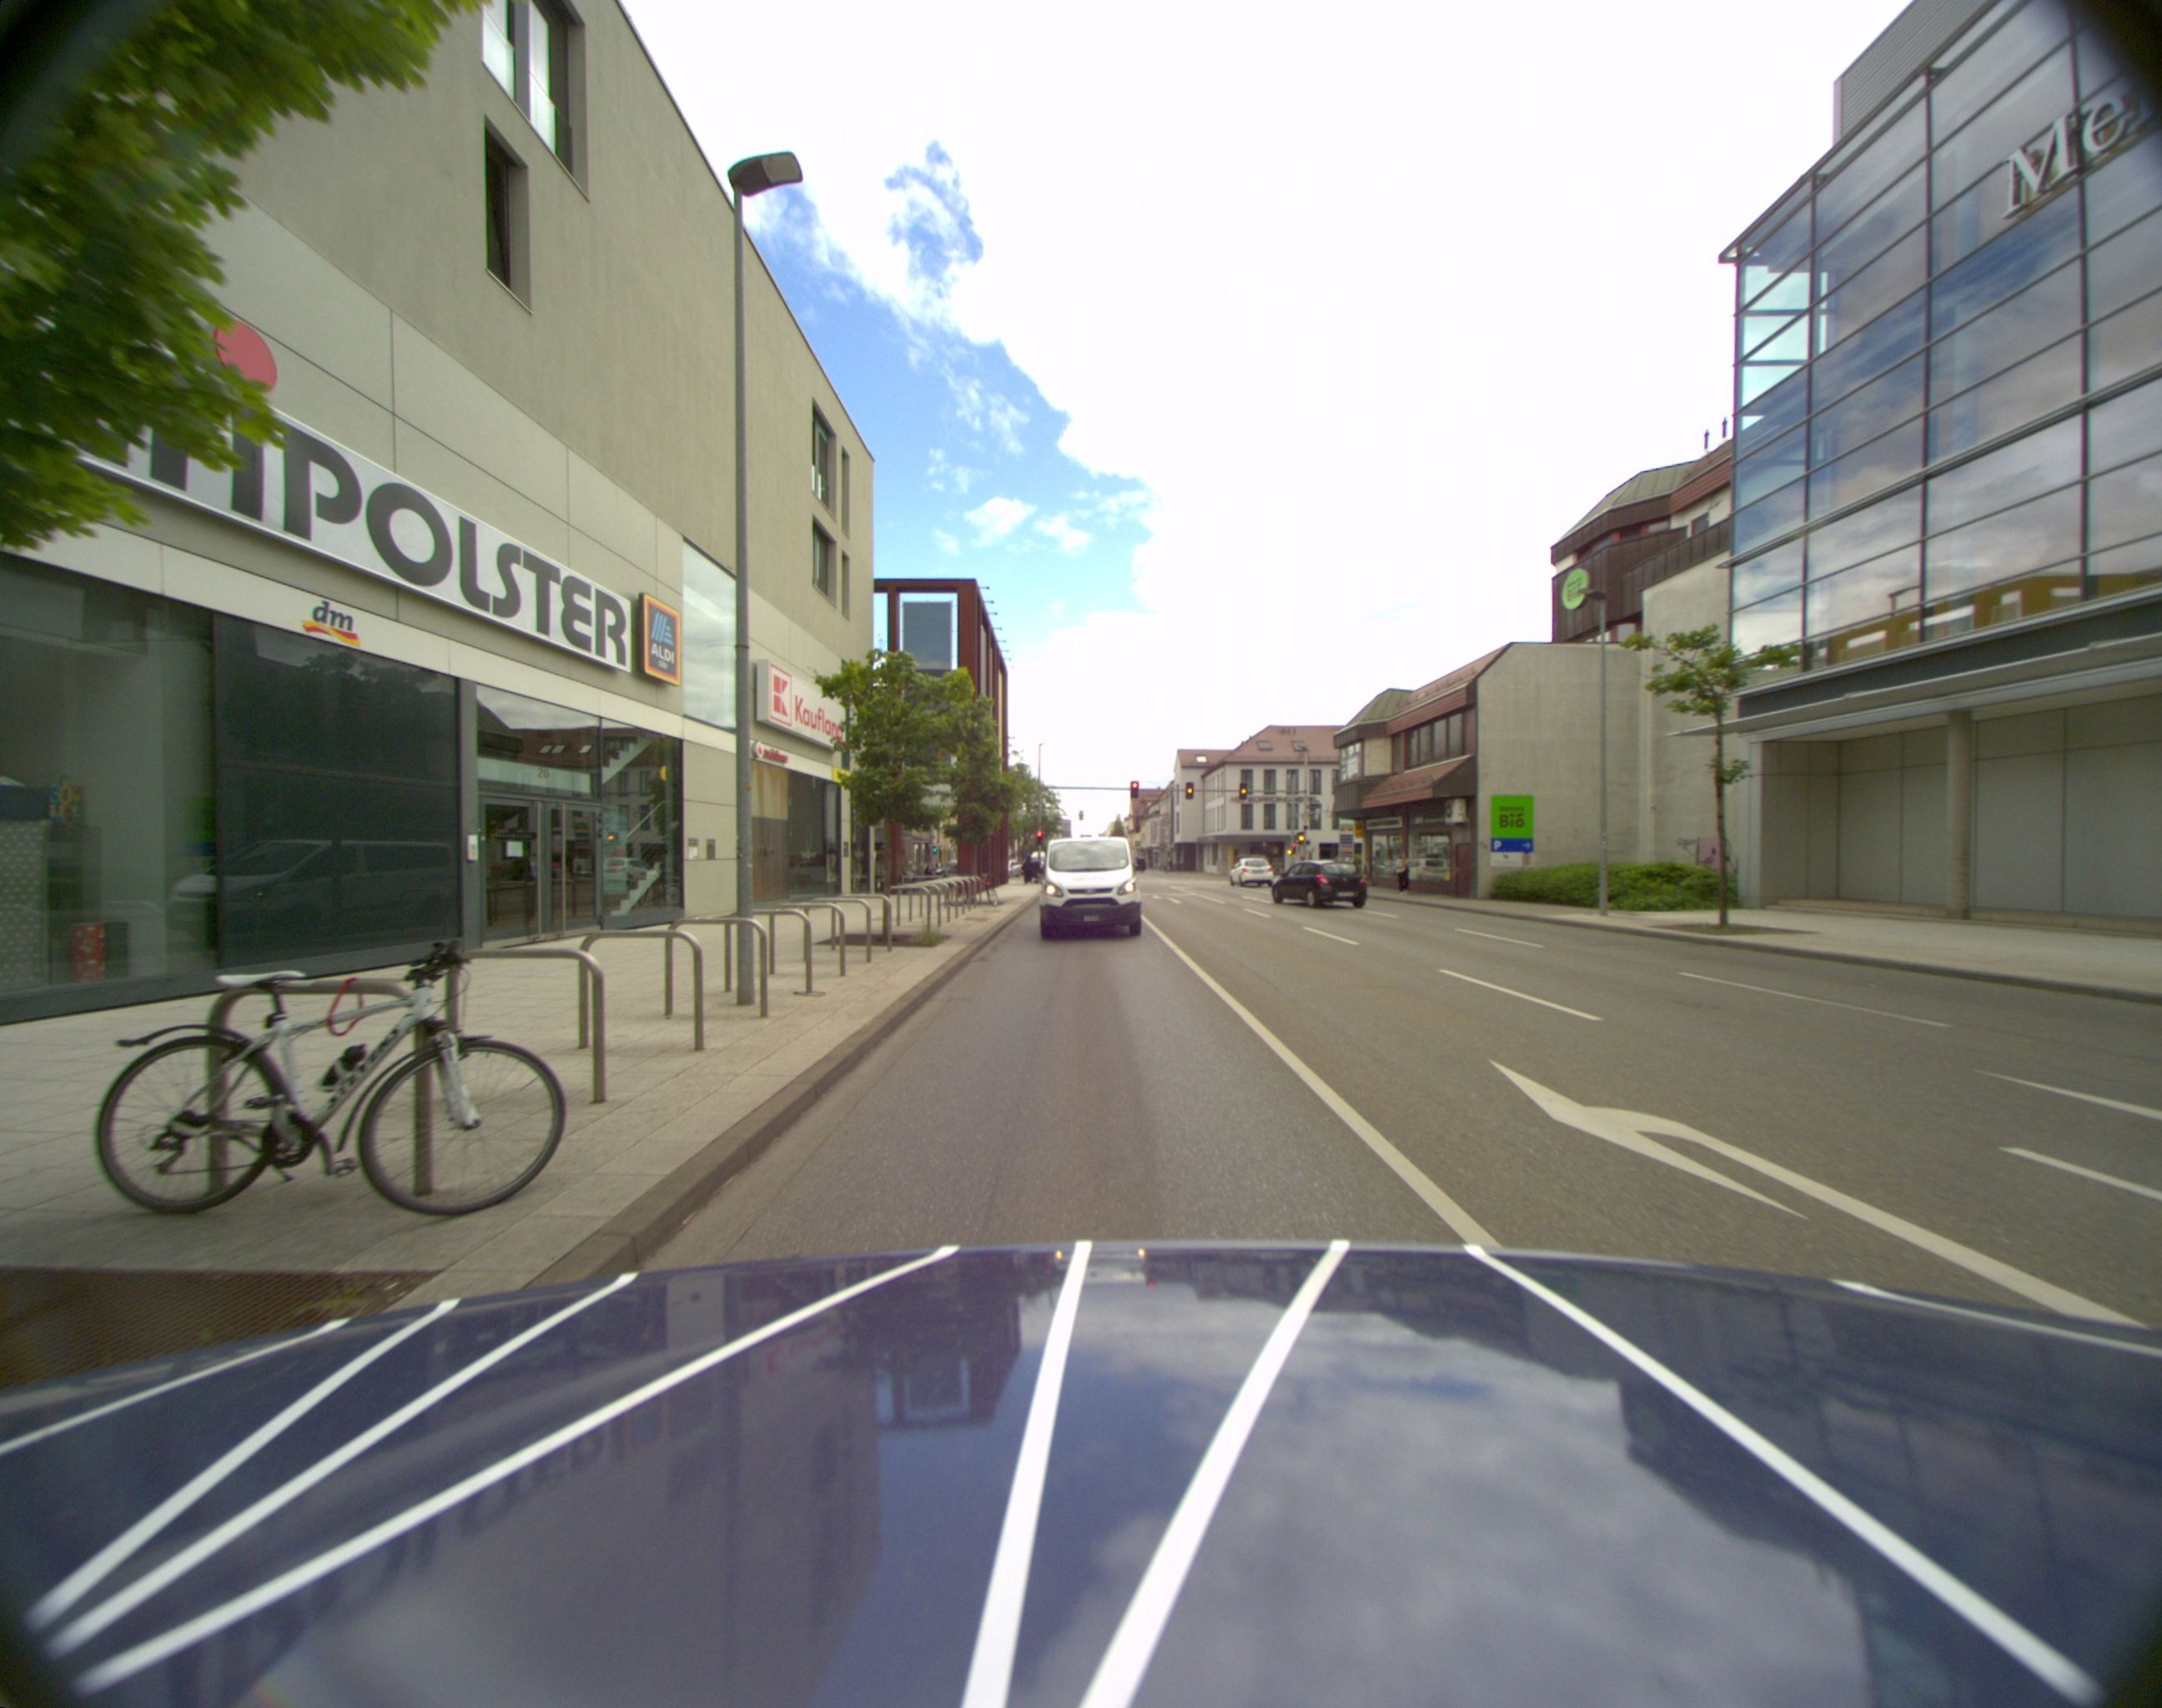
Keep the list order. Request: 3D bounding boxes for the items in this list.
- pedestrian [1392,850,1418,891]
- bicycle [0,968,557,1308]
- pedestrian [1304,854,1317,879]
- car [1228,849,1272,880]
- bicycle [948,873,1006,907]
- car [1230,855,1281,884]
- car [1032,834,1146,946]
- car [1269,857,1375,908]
[{"bbox_3d":[12.650,0.634,29.680,0.702,1.614,0.693,0,1,1],"label":"pedestrian"},{"bbox_3d":[-3.156,1.041,2.972,1.745,1.093,0.561,1,0,-7],"label":"bicycle"},{"bbox_3d":[14.254,0.779,47.181,0.555,1.507,0.582,-1,1,-32],"label":"pedestrian"},{"bbox_3d":[10.574,0.626,47.713,1.937,1.883,4.000,0,0,1],"label":"car"},{"bbox_3d":[-3.149,1.088,23.076,1.745,1.015,0.451,0,1,-6],"label":"bicycle"},{"bbox_3d":[9.350,0.795,41.091,1.937,1.458,4.000,0,0,1],"label":"car"},{"bbox_3d":[0.176,0.641,16.405,2.000,1.976,5.000,-2,1,1],"label":"car"},{"bbox_3d":[7.528,0.828,24.172,1.803,1.458,3.998,0,0,-6],"label":"car"}]
